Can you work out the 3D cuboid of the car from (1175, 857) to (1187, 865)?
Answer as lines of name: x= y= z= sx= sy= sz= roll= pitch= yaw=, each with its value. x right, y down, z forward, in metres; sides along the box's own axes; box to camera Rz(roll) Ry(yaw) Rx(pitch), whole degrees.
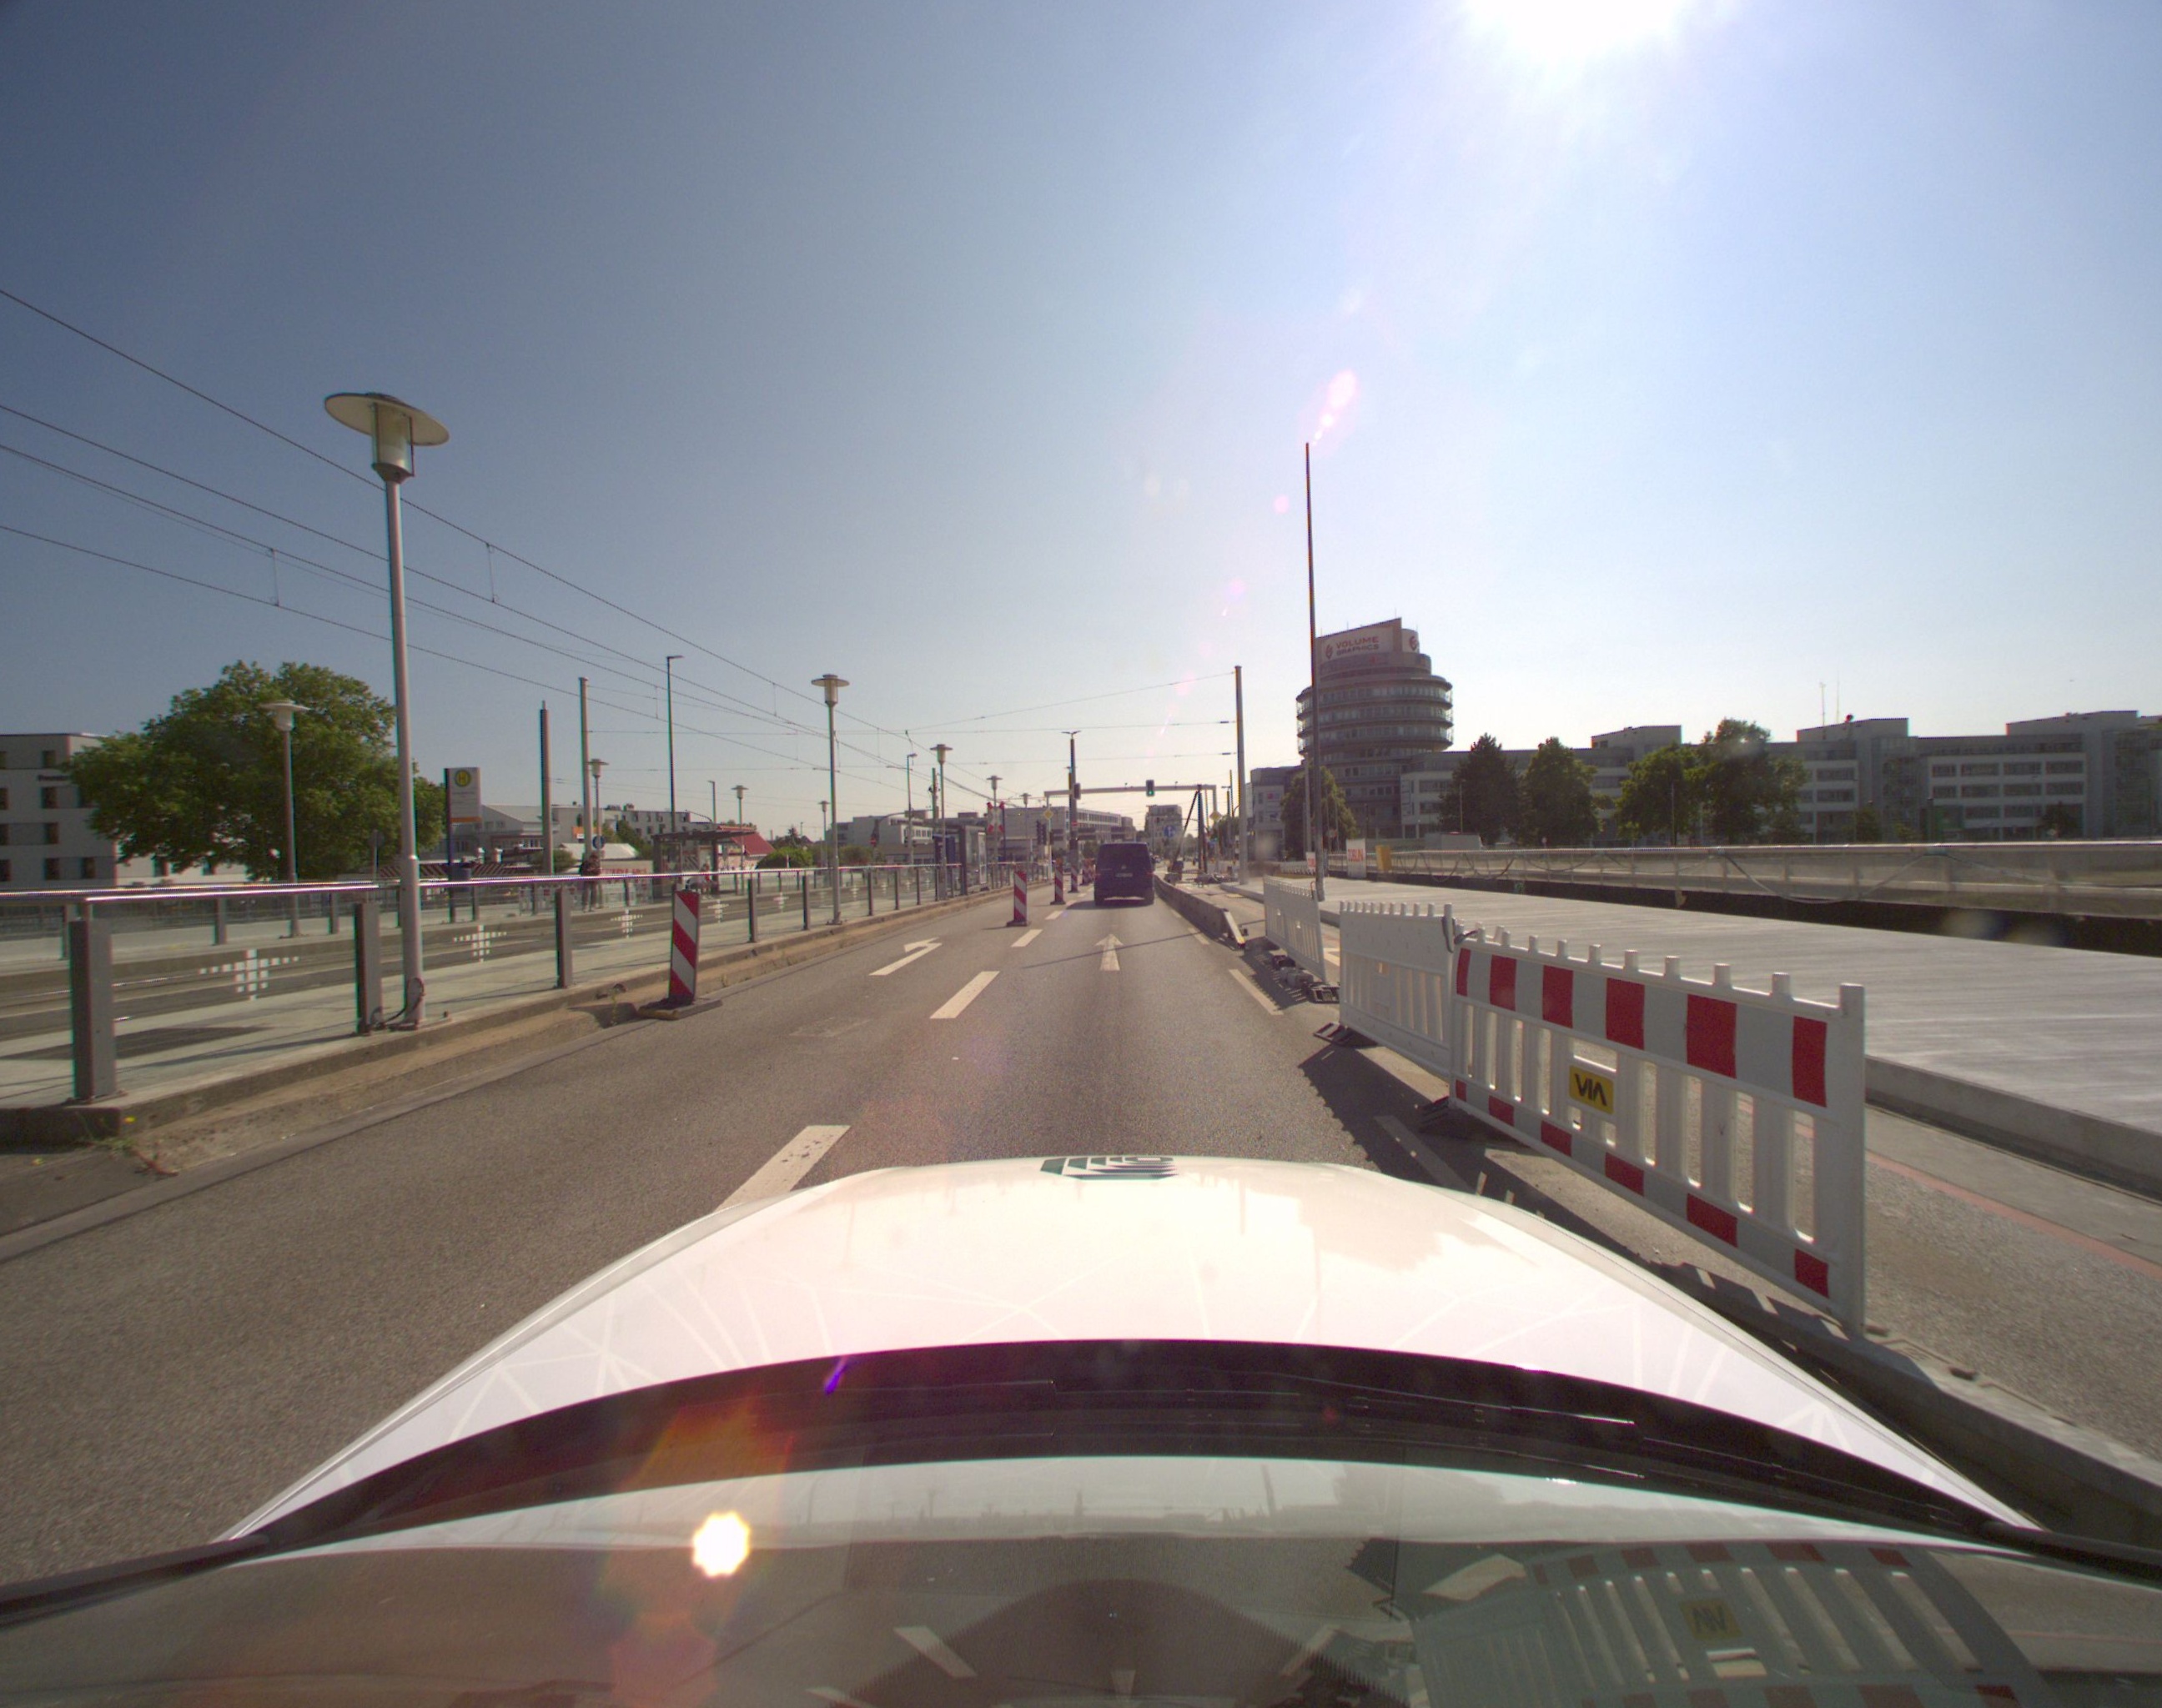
car: x=17.176 y=1.198 z=139.870 sx=1.737 sy=1.475 sz=3.888 roll=-1 pitch=0 yaw=3

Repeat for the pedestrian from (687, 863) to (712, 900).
pedestrian: x=-13.688 y=0.983 z=29.212 sx=0.645 sy=1.274 sz=0.454 roll=-1 pitch=0 yaw=5

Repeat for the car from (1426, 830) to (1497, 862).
car: x=35.502 y=-0.765 z=75.966 sx=5.963 sy=2.887 sz=2.334 roll=-1 pitch=1 yaw=-16

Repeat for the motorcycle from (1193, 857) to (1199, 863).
motorcycle: x=25.836 y=1.340 z=182.346 sx=1.154 sy=1.242 sz=3.017 roll=-1 pitch=0 yaw=11

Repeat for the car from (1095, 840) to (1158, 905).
car: x=1.479 y=0.535 z=26.481 sx=1.880 sy=1.934 sz=4.004 roll=0 pitch=1 yaw=3

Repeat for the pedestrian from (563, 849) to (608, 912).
pedestrian: x=-13.459 y=0.711 z=22.144 sx=0.655 sy=1.654 sz=0.742 roll=-2 pitch=0 yaw=13

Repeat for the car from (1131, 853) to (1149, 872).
car: x=5.627 y=0.781 z=77.326 sx=1.637 sy=1.728 sz=4.006 roll=0 pitch=0 yaw=5

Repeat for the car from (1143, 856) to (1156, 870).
car: x=9.023 y=1.192 z=107.421 sx=1.637 sy=1.728 sz=3.723 roll=0 pitch=0 yaw=5

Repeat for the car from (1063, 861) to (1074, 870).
car: x=-2.196 y=2.037 z=142.976 sx=1.740 sy=1.486 sz=4.002 roll=-2 pitch=0 yaw=2

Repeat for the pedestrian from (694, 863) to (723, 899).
pedestrian: x=-13.629 y=0.977 z=29.795 sx=0.645 sy=1.274 sz=0.698 roll=-1 pitch=0 yaw=5

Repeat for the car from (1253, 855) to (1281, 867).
car: x=27.392 y=1.045 z=120.131 sx=3.797 sy=1.797 sz=1.683 roll=0 pitch=1 yaw=3
